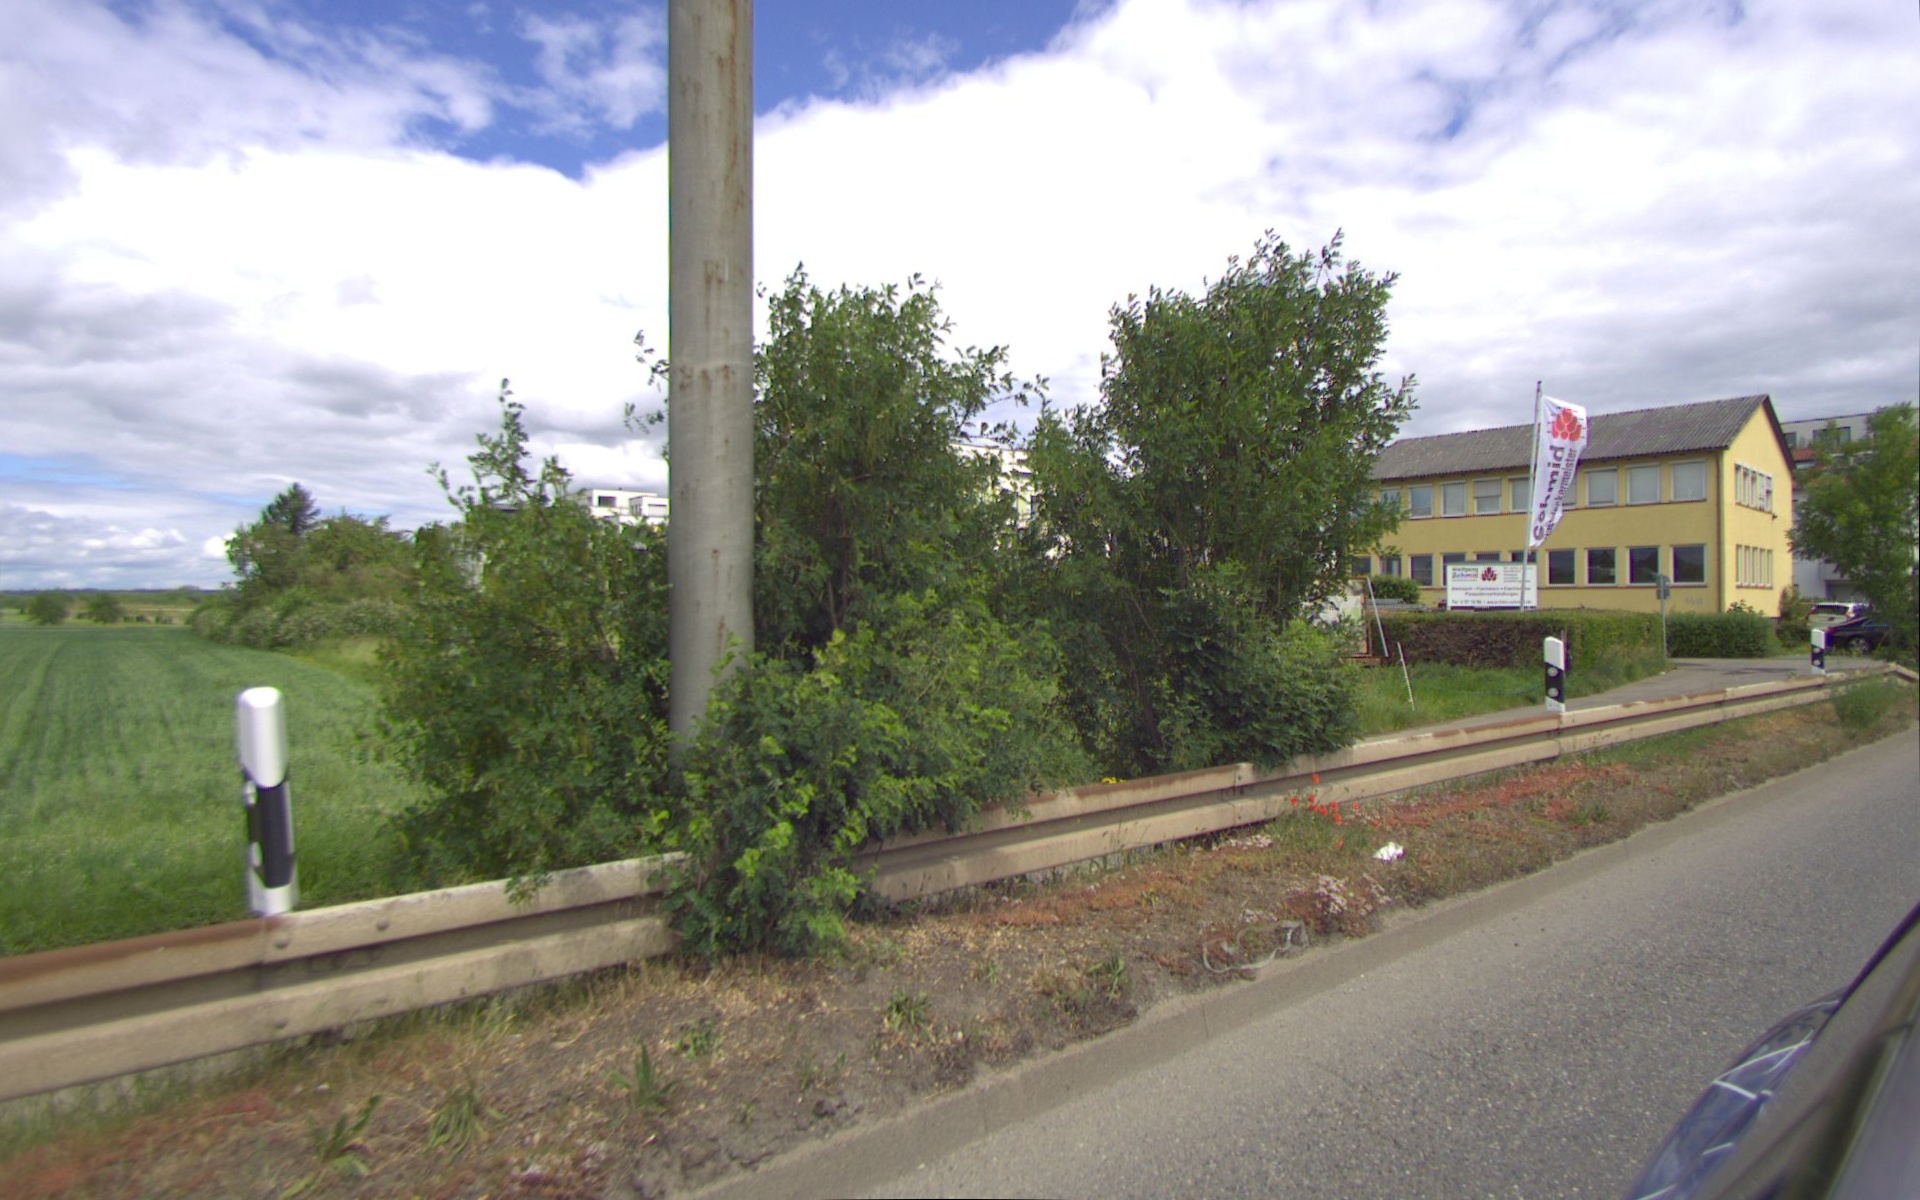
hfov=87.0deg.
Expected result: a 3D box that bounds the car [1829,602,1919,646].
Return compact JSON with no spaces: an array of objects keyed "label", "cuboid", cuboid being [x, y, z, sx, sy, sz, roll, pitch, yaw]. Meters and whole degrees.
[{"label":"car","cuboid":[32.664,0.806,34.500,1.969,1.416,4.328,-2,-1,-40]}]

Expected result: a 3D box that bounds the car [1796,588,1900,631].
[{"label":"car","cuboid":[40.894,0.403,46.582,4.928,1.844,1.985,-1,1,-28]}]

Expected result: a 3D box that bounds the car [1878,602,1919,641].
[{"label":"car","cuboid":[39.172,0.787,39.351,1.994,1.499,4.813,0,-2,-36]}]

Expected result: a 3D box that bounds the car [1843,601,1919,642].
[{"label":"car","cuboid":[34.948,0.726,36.091,2.000,1.449,4.863,0,-2,-37]}]

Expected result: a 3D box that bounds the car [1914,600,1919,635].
[{"label":"car","cuboid":[43.628,0.705,42.695,1.997,1.512,4.670,0,-1,-38]}]

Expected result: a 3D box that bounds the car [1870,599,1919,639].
[{"label":"car","cuboid":[37.125,0.669,37.543,1.978,1.513,4.688,0,-2,-36]}]
